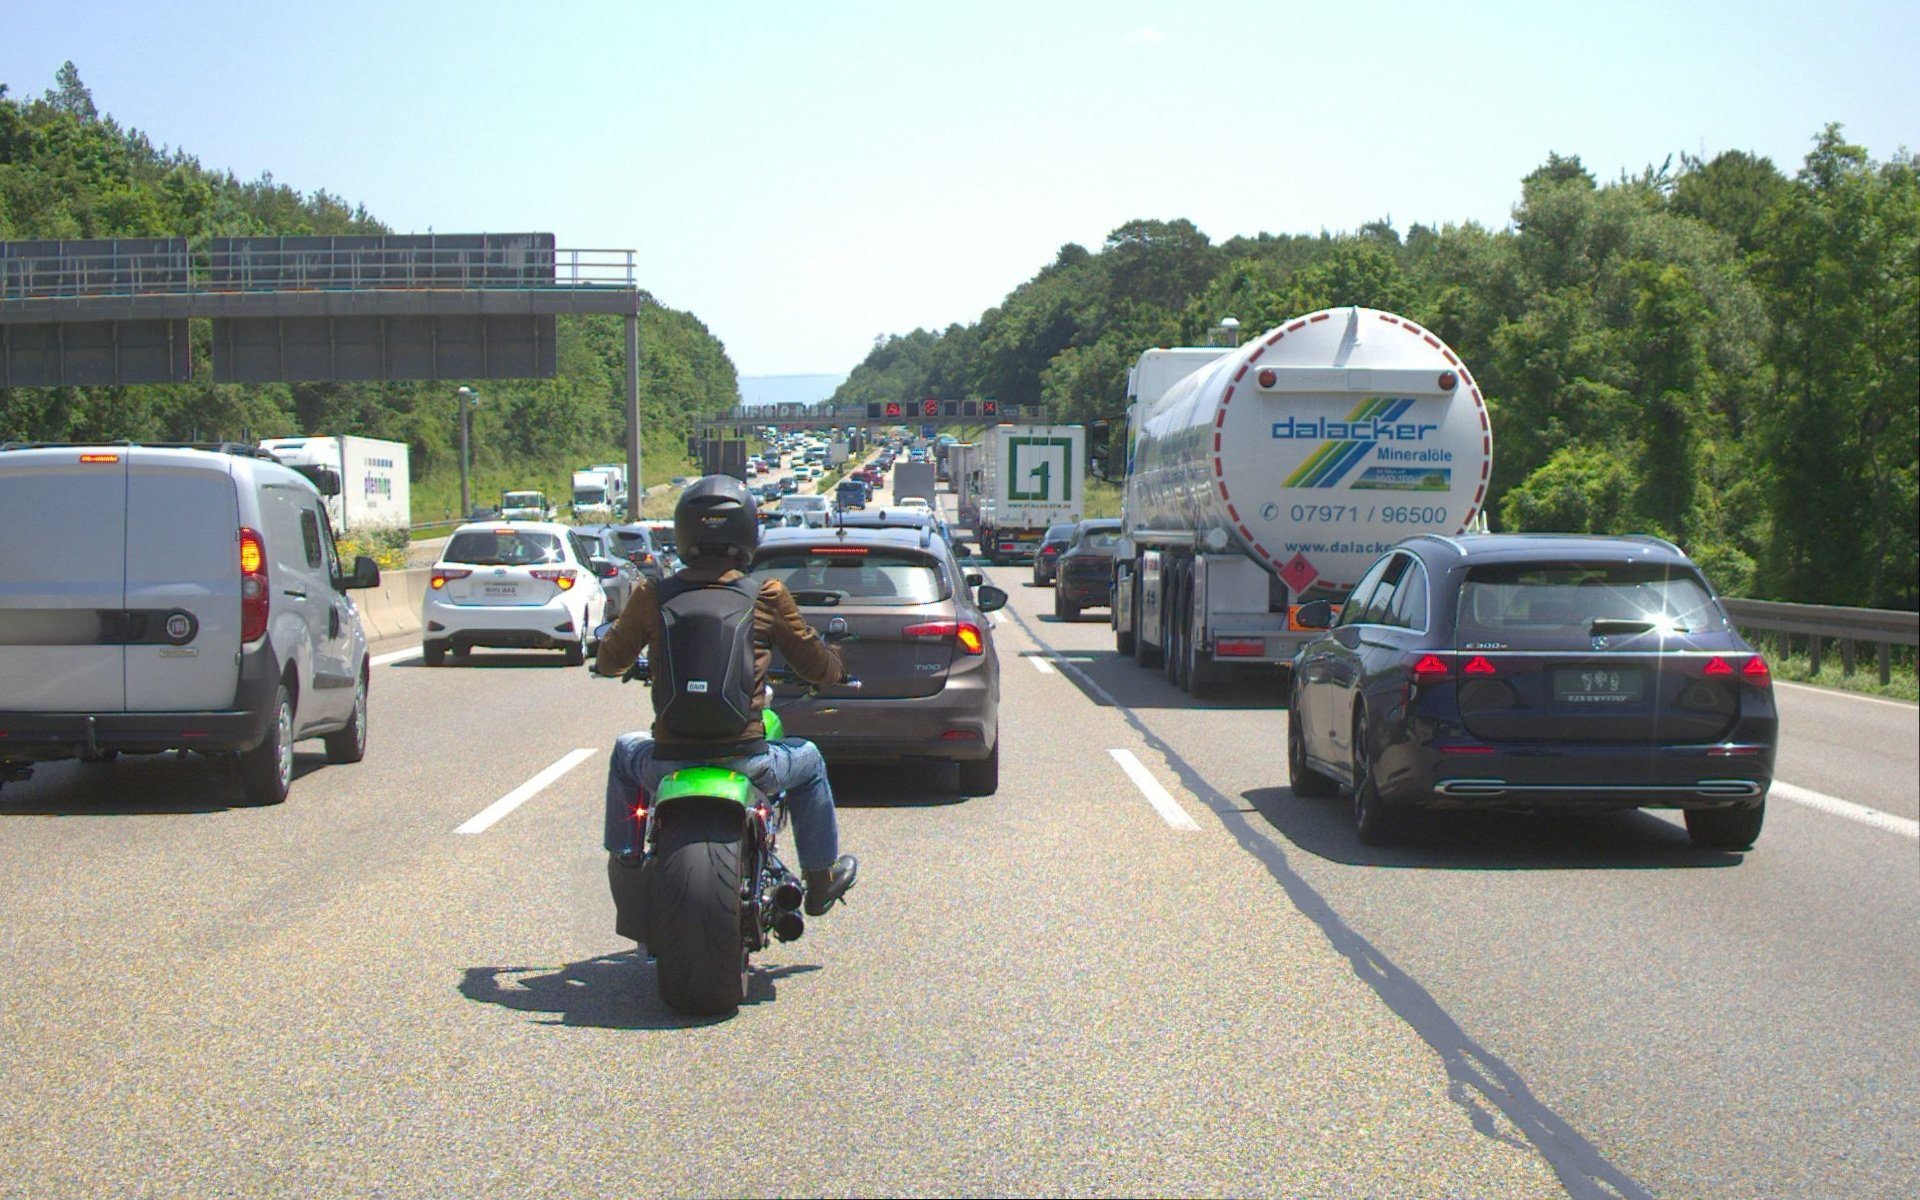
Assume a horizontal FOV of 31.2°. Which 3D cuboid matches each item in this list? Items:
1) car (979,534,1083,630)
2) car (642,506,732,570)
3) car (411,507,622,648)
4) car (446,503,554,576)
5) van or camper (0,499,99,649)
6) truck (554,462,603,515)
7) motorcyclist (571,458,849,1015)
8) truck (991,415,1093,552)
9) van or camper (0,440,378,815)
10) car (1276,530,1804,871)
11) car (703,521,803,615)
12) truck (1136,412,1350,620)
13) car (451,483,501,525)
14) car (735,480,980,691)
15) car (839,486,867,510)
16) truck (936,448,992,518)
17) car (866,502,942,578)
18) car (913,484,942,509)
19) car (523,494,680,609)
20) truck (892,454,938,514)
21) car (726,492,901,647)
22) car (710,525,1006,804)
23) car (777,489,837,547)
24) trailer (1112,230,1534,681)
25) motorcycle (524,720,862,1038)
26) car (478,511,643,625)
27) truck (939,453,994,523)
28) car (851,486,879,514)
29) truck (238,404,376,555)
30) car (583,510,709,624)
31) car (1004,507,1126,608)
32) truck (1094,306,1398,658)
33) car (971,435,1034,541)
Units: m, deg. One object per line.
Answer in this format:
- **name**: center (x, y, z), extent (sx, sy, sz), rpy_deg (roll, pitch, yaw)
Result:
- **car**: center (1.512, -0.403, 74.561), extent (1.993, 2.007, 4.000), rpy_deg (1, 0, -2)
- **car**: center (-6.343, -1.433, 80.253), extent (1.764, 1.437, 4.000), rpy_deg (1, 0, 0)
- **car**: center (-4.693, -0.248, 36.858), extent (1.776, 1.406, 4.000), rpy_deg (1, 0, -1)
- **car**: center (-9.596, -1.283, 71.914), extent (1.824, 1.489, 4.001), rpy_deg (0, 1, -2)
- **van or camper**: center (-16.047, -0.367, 57.324), extent (1.993, 2.377, 4.808), rpy_deg (-5, 0, 0)
- **truck**: center (-22.001, -6.427, 198.643), extent (2.177, 2.875, 6.743), rpy_deg (1, 0, -1)
- **motorcyclist**: center (-0.776, 0.411, 10.962), extent (0.799, 1.682, 1.016), rpy_deg (1, 0, -1)
- **truck**: center (2.464, -3.374, 101.662), extent (2.854, 3.808, 7.187), rpy_deg (1, 0, 2)
- **van or camper**: center (-4.494, 0.062, 19.592), extent (1.853, 1.874, 4.562), rpy_deg (1, 2, -4)
- **car**: center (2.724, 0.416, 17.190), extent (1.792, 1.453, 4.624), rpy_deg (1, 0, -1)
- **car**: center (-4.564, -0.719, 76.372), extent (1.993, 2.007, 4.000), rpy_deg (1, 0, -1)
- **truck**: center (4.260, -1.306, 53.376), extent (2.388, 2.969, 8.254), rpy_deg (1, 1, -2)
- **car**: center (-24.359, -4.821, 173.185), extent (1.993, 2.007, 4.000), rpy_deg (1, 0, -1)
- **car**: center (-0.891, -0.139, 30.228), extent (1.993, 1.705, 4.000), rpy_deg (1, 0, -1)
- **car**: center (-7.158, -6.794, 230.018), extent (1.770, 1.550, 4.000), rpy_deg (0, 1, -1)
- **truck**: center (0.158, -5.929, 175.959), extent (2.696, 3.393, 10.479), rpy_deg (0, 1, -1)
- **car**: center (-1.507, -1.628, 92.536), extent (1.993, 2.007, 4.000), rpy_deg (0, 1, -1)
- **car**: center (-2.148, -6.838, 227.812), extent (1.878, 1.612, 4.000), rpy_deg (0, 1, -1)
- **car**: center (-5.493, -0.736, 53.149), extent (1.993, 1.678, 4.330), rpy_deg (1, 0, -1)
- **truck**: center (-2.682, -6.901, 206.000), extent (2.696, 3.393, 10.479), rpy_deg (0, 1, -1)
- **car**: center (-1.746, -0.372, 41.814), extent (1.993, 1.769, 4.000), rpy_deg (1, 0, -1)
- **car**: center (-0.560, 0.296, 20.113), extent (1.541, 1.445, 4.000), rpy_deg (1, 1, -1)
- **car**: center (-5.455, -2.918, 122.661), extent (1.993, 2.007, 4.000), rpy_deg (0, 1, -1)
- **trailer**: center (3.210, -1.230, 33.536), extent (2.828, 3.658, 10.733), rpy_deg (1, 0, -1)
- **motorcycle**: center (-0.812, 0.856, 11.197), extent (0.936, 0.790, 2.299), rpy_deg (1, 1, -1)
- **car**: center (-5.411, -0.438, 46.998), extent (1.993, 1.459, 4.001), rpy_deg (1, 0, -3)
- **truck**: center (0.228, -3.528, 108.748), extent (1.591, 2.104, 3.751), rpy_deg (1, 0, 2)
- **car**: center (-7.091, -7.461, 256.950), extent (1.993, 2.007, 4.000), rpy_deg (0, 1, -1)
- **truck**: center (-20.249, -3.658, 106.989), extent (2.949, 4.466, 7.519), rpy_deg (1, 0, -1)
- **car**: center (-5.761, -0.609, 63.480), extent (1.993, 2.007, 4.000), rpy_deg (1, 0, -1)
- **car**: center (1.646, -0.671, 54.993), extent (1.776, 1.522, 4.000), rpy_deg (1, 0, -1)
- **truck**: center (3.135, -1.269, 39.344), extent (2.828, 3.658, 6.430), rpy_deg (1, 0, -1)
- **car**: center (1.611, -4.296, 133.757), extent (2.167, 3.879, 9.330), rpy_deg (1, 0, -1)
